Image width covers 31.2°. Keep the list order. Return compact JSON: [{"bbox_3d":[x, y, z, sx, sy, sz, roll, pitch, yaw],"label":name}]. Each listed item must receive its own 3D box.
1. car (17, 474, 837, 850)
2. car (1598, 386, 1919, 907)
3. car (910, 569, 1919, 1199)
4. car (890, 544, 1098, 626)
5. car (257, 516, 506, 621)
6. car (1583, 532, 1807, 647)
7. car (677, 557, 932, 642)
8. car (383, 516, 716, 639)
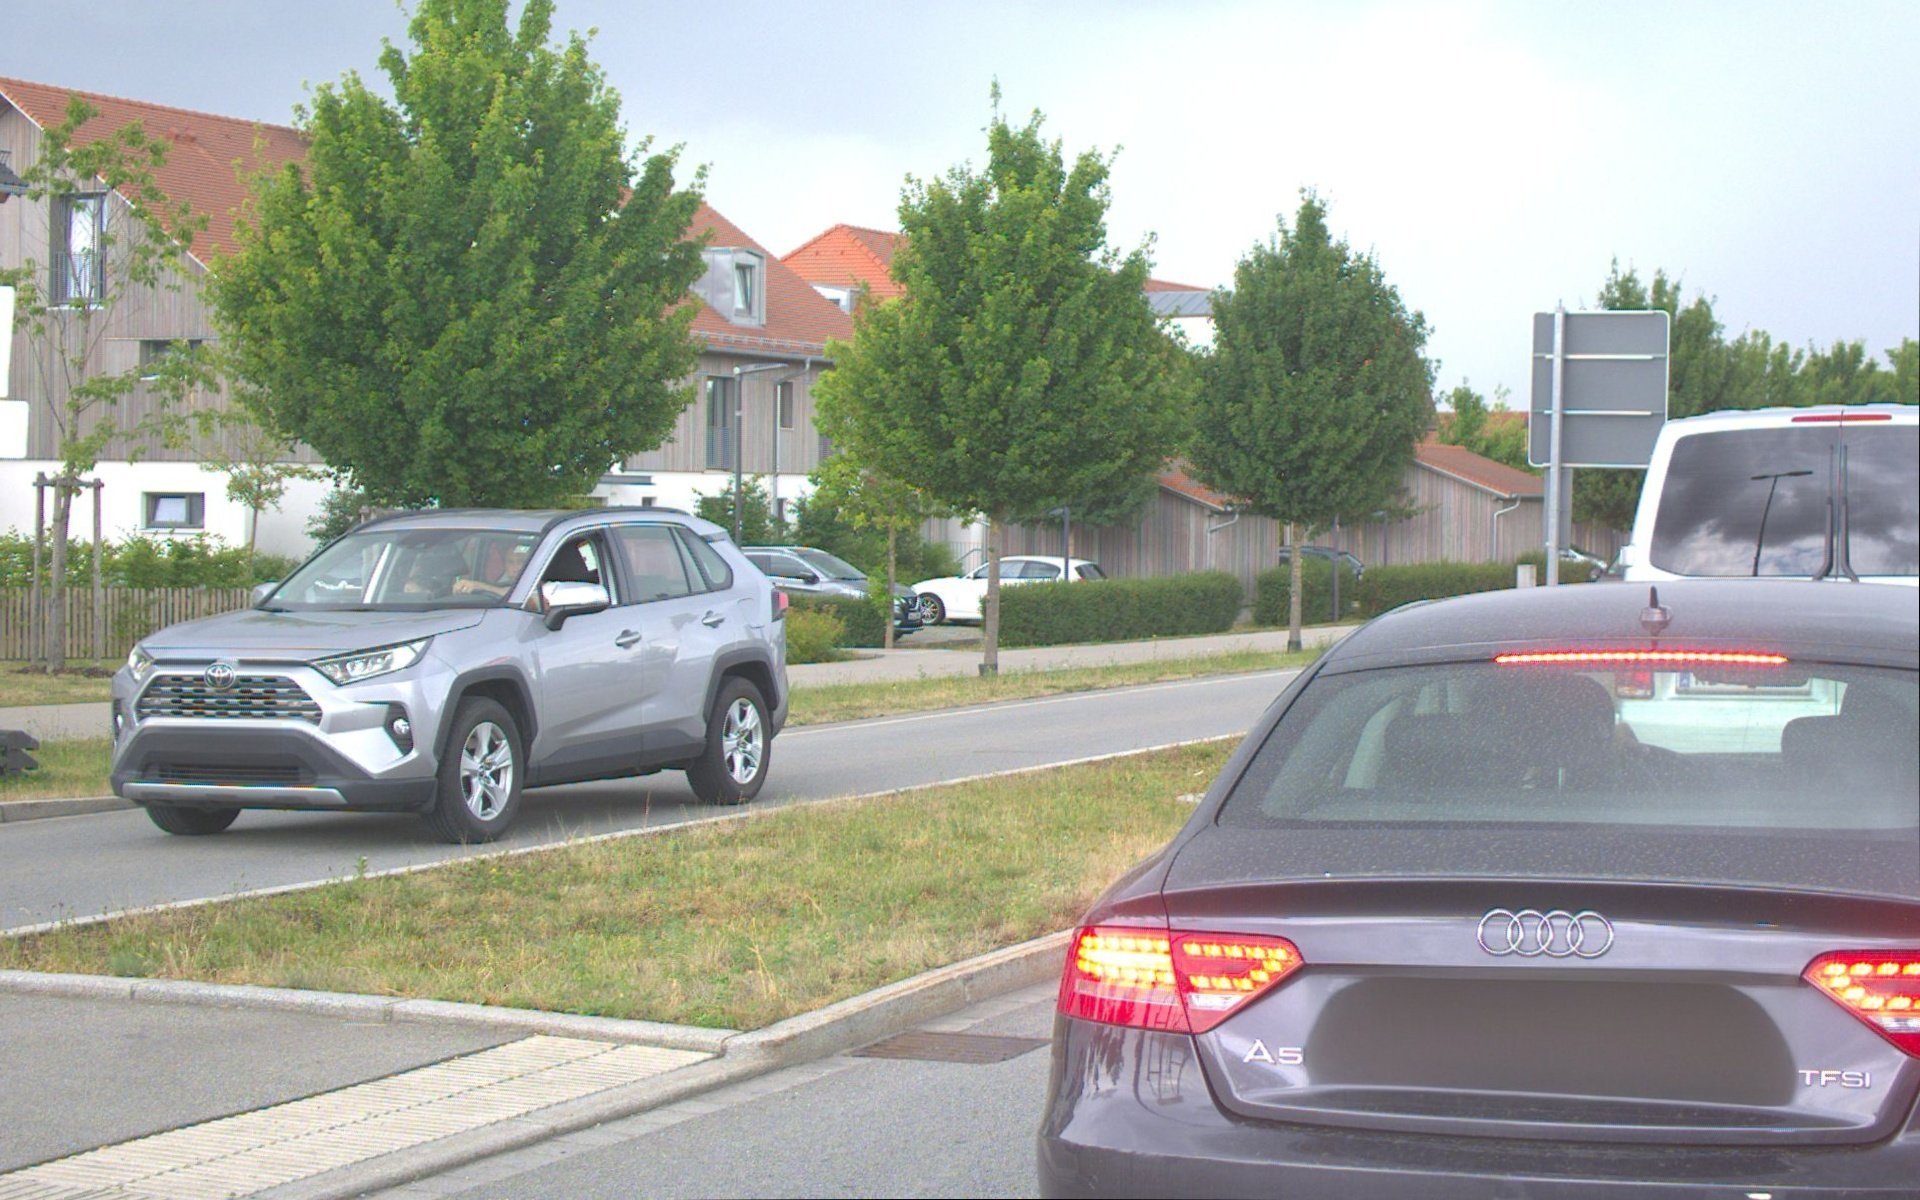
[{"bbox_3d":[-2.599,0.247,18.054,1.996,1.698,4.629,0,1,25],"label":"car"},{"bbox_3d":[4.023,0.131,14.720,1.869,1.927,3.996,2,2,20],"label":"car"},{"bbox_3d":[1.487,0.663,6.510,1.786,1.387,4.128,0,1,21],"label":"car"},{"bbox_3d":[0.669,-0.312,67.745,3.733,1.477,1.685,2,2,20],"label":"car"},{"bbox_3d":[-10.172,-0.562,60.766,1.997,1.766,4.458,2,1,28],"label":"car"},{"bbox_3d":[9.783,-0.179,45.534,1.756,1.411,4.449,2,2,27],"label":"car"},{"bbox_3d":[-2.651,-0.025,58.730,3.919,1.310,1.841,2,2,21],"label":"car"},{"bbox_3d":[-6.107,-0.359,51.065,4.537,1.674,1.997,2,2,27],"label":"car"}]
